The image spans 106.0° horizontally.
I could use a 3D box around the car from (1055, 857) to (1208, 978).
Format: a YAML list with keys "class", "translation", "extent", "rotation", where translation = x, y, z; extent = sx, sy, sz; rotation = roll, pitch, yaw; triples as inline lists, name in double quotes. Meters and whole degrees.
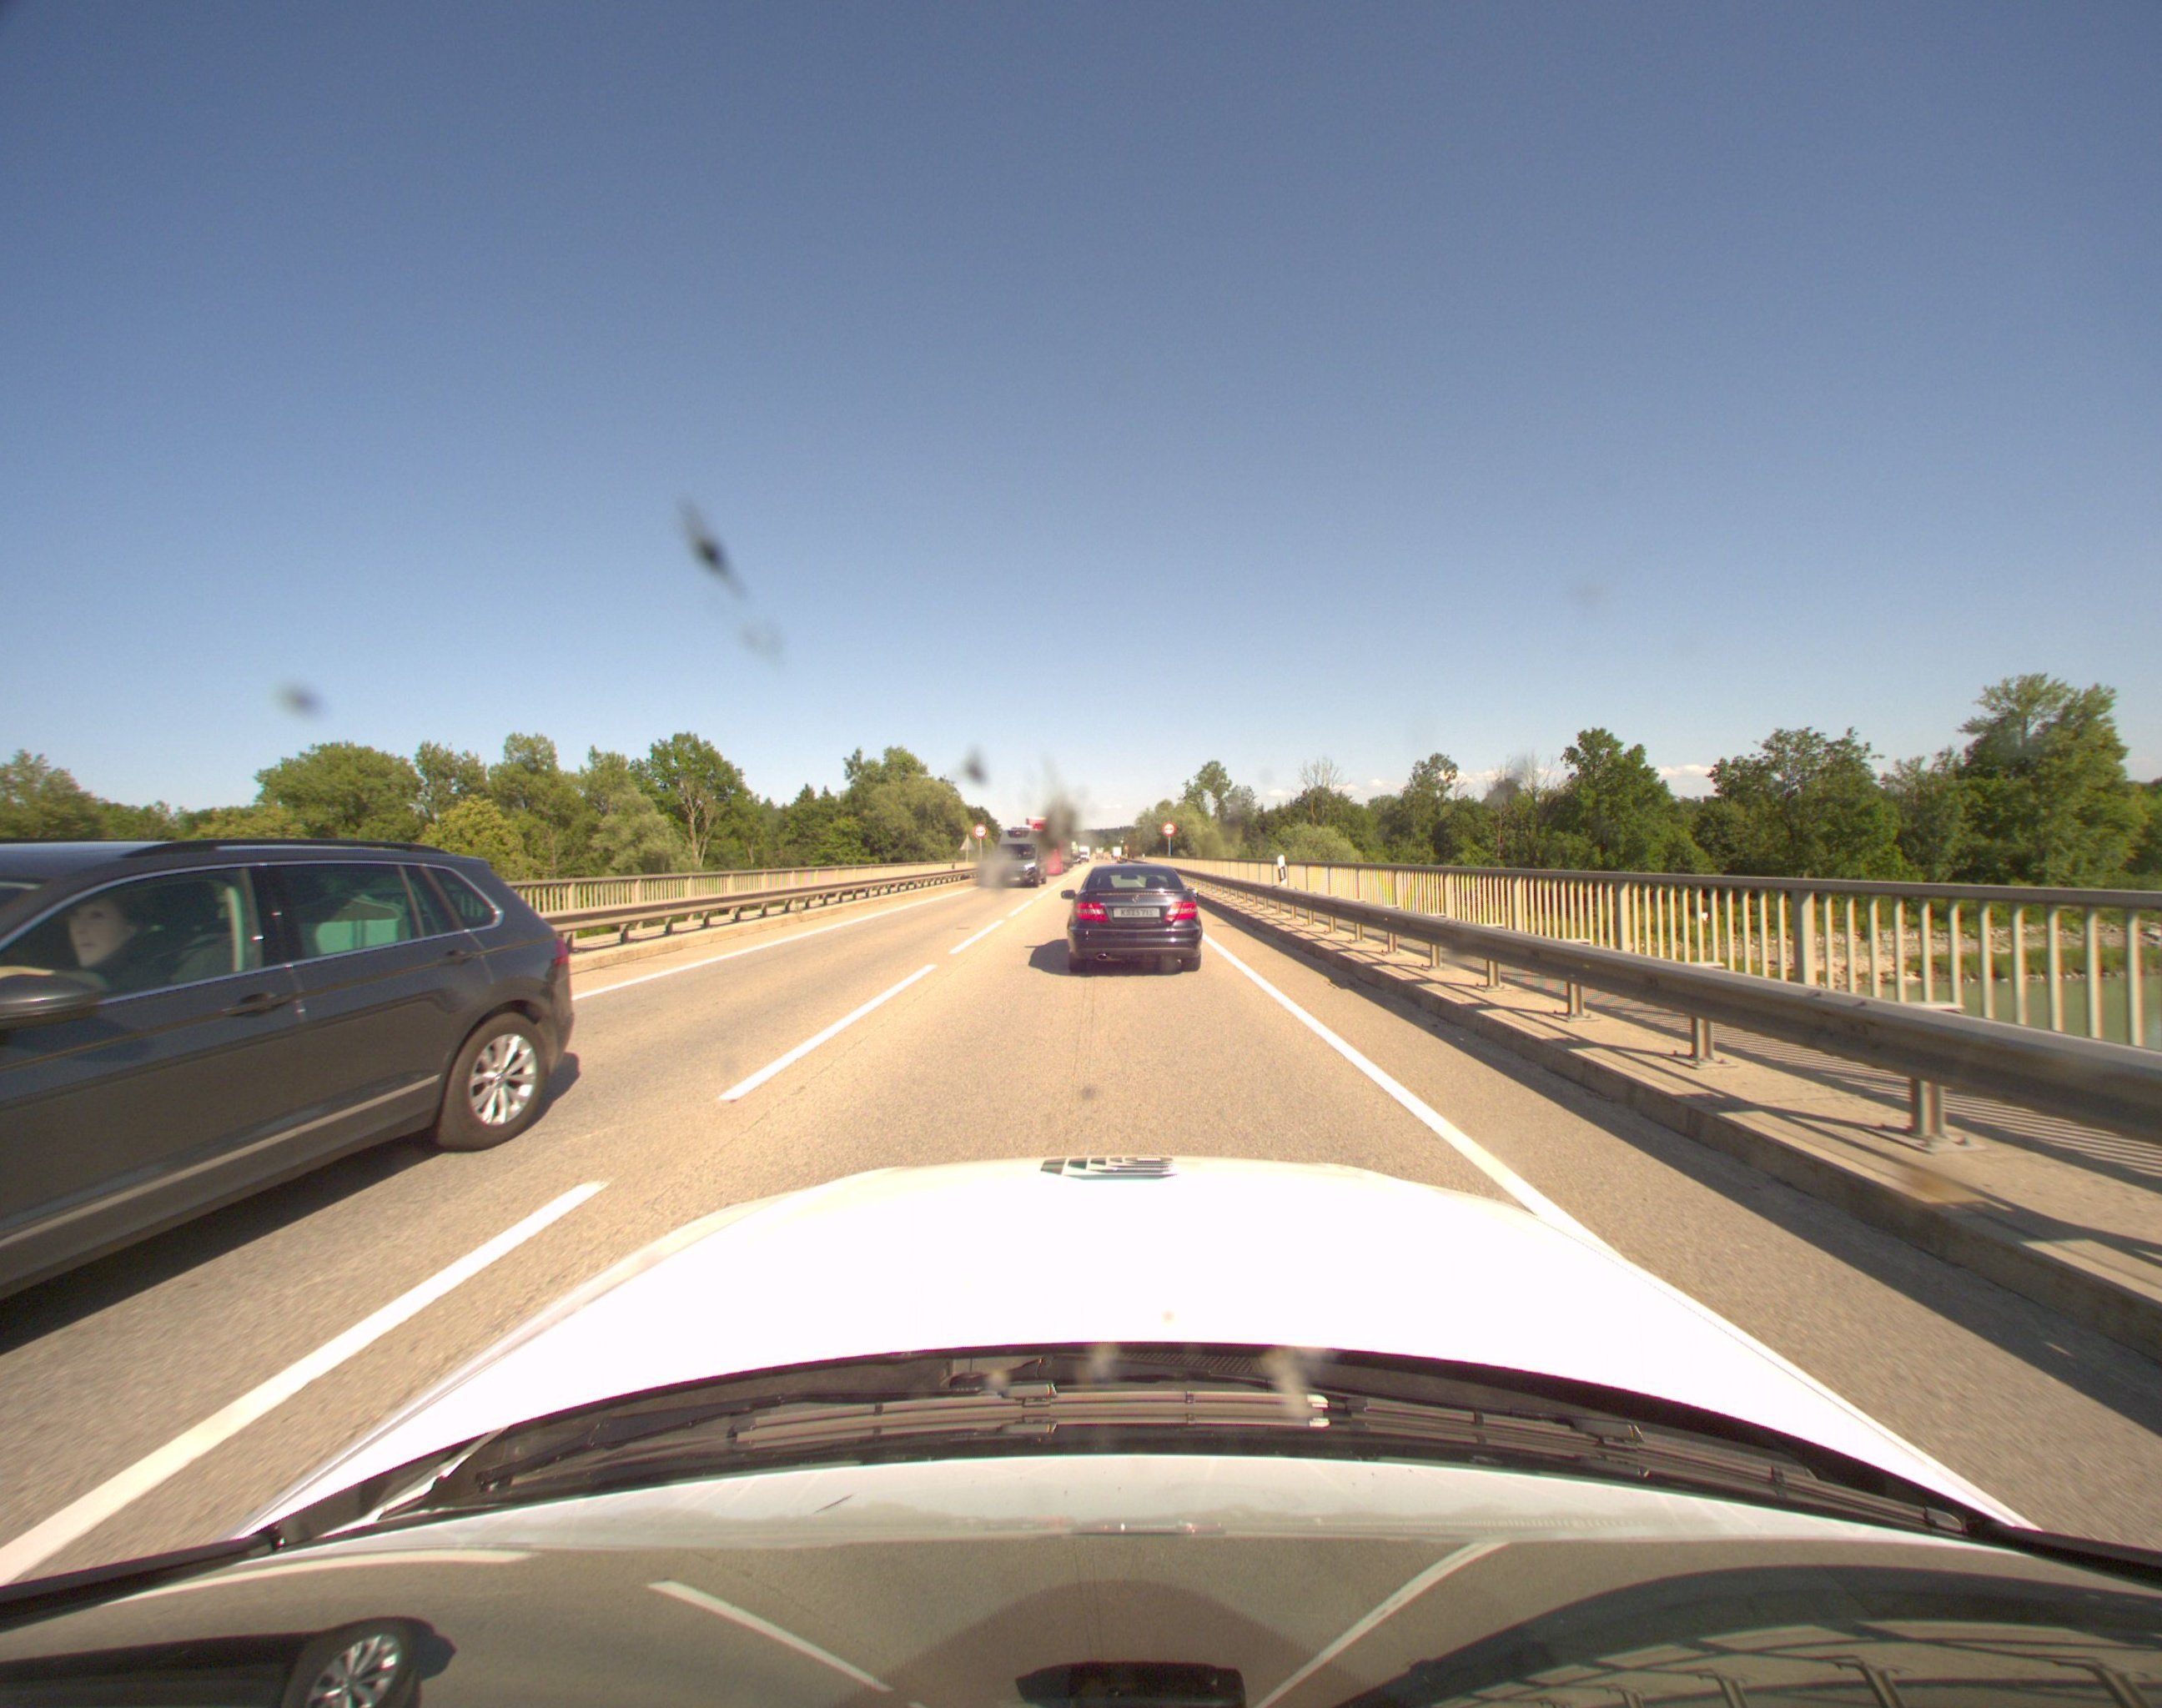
- class: "car"
  translation: [0.690, 0.756, 11.605]
  extent: [1.786, 1.376, 4.003]
  rotation: [-1, 0, 3]

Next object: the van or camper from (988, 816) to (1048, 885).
- class: "van or camper"
  translation: [-2.929, -0.154, 39.505]
  extent: [2.307, 3.051, 6.817]
  rotation: [0, 0, 1]

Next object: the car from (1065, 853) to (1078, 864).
- class: "car"
  translation: [-1.446, 0.656, 122.999]
  extent: [1.836, 1.642, 4.573]
  rotation: [0, 0, -2]

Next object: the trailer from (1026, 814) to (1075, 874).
- class: "trailer"
  translation: [-2.252, -0.727, 65.293]
  extent: [2.896, 4.302, 14.308]
  rotation: [0, 0, 2]

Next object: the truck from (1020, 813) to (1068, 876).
- class: "truck"
  translation: [-2.558, -0.637, 57.853]
  extent: [2.896, 4.184, 5.716]
  rotation: [-1, 0, 2]

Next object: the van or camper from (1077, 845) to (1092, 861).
- class: "van or camper"
  translation: [0.792, -0.289, 170.264]
  extent: [2.624, 3.256, 7.757]
  rotation: [0, 0, 4]

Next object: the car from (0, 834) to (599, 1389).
- class: "car"
  translation: [-4.014, 0.749, 2.956]
  extent: [1.867, 1.583, 4.275]
  rotation: [-1, 0, 1]
